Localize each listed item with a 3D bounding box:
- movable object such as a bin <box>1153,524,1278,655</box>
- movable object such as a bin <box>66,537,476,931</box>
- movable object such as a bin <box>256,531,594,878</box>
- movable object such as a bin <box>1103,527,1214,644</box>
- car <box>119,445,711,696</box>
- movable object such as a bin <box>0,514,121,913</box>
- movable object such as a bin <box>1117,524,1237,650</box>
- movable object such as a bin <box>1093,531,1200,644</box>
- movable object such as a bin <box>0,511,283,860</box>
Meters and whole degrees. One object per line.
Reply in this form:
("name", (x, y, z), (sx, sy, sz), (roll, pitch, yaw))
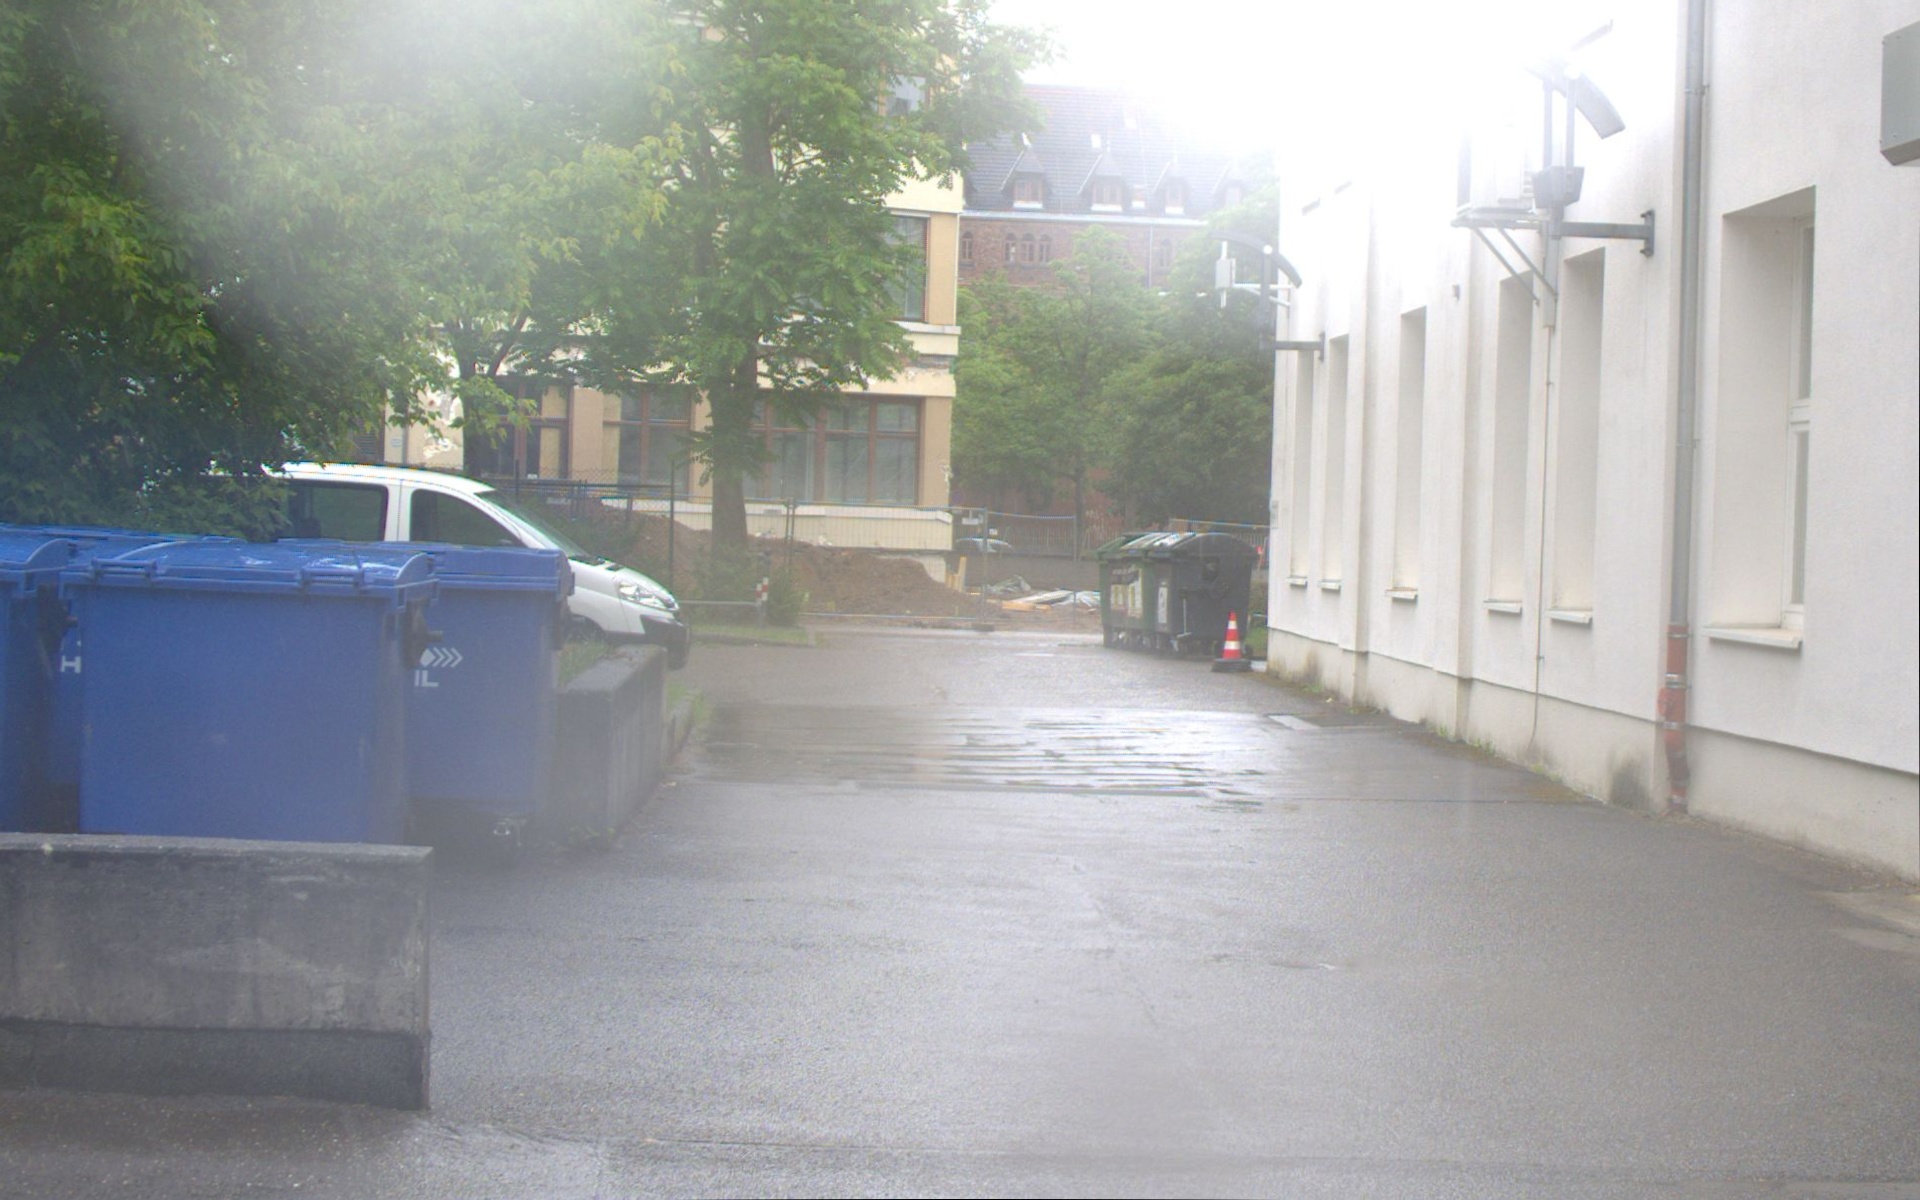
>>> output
("movable object such as a bin", (2.906, -0.110, 39.208), (1.214, 1.432, 1.236), (2, -1, -4))
("movable object such as a bin", (-2.489, 0.458, 12.568), (1.203, 1.332, 1.117), (2, 1, 2))
("movable object such as a bin", (-2.181, 0.407, 14.167), (1.221, 1.332, 1.007), (2, 2, -1))
("movable object such as a bin", (2.529, -0.176, 43.899), (1.214, 1.432, 1.259), (2, -1, -4))
("car", (-4.610, -0.275, 29.621), (4.780, 2.006, 2.000), (1, 2, -1))
("movable object such as a bin", (-3.808, 0.359, 12.502), (1.202, 1.332, 1.117), (3, 3, -2))
("movable object such as a bin", (2.569, -0.146, 40.887), (1.214, 1.432, 1.294), (2, -1, -4))
("movable object such as a bin", (2.447, -0.157, 45.276), (1.214, 1.432, 1.259), (2, -1, -4))
("movable object such as a bin", (-3.504, 0.329, 14.154), (1.221, 1.332, 1.007), (2, 2, -1))
